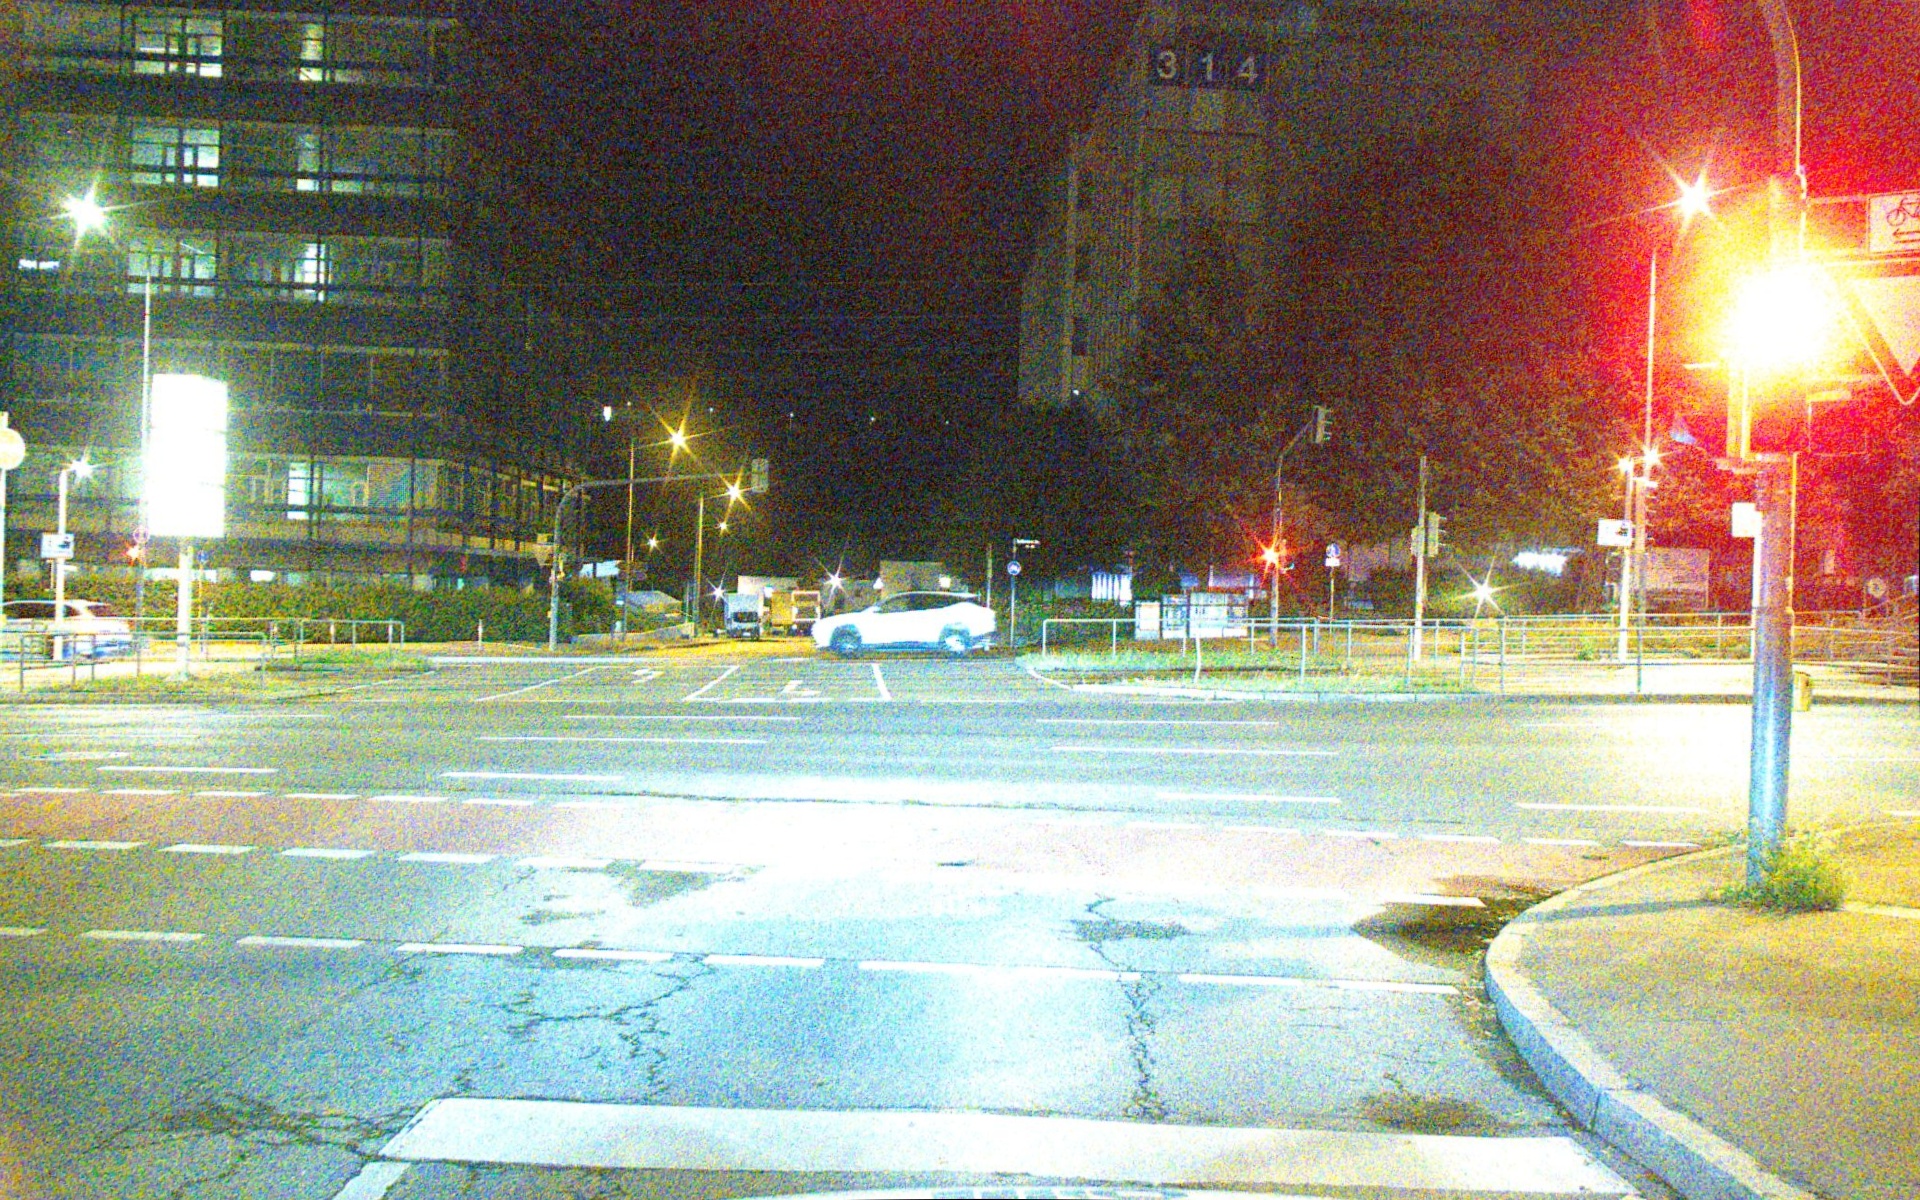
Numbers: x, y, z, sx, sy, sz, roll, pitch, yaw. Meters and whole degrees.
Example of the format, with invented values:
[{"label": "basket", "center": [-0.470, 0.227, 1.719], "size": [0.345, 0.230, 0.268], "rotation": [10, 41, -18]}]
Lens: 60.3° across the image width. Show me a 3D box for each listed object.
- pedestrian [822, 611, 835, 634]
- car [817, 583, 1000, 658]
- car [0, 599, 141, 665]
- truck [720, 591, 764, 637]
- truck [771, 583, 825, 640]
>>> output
[{"label": "pedestrian", "center": [-11.719, 2.002, 147.315], "size": [0.836, 1.945, 1.001], "rotation": [2, -1, -18]}, {"label": "car", "center": [-1.222, 0.502, 40.514], "size": [4.306, 1.672, 1.942], "rotation": [1, -1, 2]}, {"label": "car", "center": [-23.043, 0.766, 41.076], "size": [4.479, 1.512, 1.779], "rotation": [1, 0, 2]}, {"label": "truck", "center": [-15.801, 1.012, 119.535], "size": [2.377, 3.143, 6.414], "rotation": [2, -1, -14]}, {"label": "truck", "center": [-14.617, 1.019, 148.610], "size": [3.307, 4.927, 7.868], "rotation": [2, -1, -17]}]
